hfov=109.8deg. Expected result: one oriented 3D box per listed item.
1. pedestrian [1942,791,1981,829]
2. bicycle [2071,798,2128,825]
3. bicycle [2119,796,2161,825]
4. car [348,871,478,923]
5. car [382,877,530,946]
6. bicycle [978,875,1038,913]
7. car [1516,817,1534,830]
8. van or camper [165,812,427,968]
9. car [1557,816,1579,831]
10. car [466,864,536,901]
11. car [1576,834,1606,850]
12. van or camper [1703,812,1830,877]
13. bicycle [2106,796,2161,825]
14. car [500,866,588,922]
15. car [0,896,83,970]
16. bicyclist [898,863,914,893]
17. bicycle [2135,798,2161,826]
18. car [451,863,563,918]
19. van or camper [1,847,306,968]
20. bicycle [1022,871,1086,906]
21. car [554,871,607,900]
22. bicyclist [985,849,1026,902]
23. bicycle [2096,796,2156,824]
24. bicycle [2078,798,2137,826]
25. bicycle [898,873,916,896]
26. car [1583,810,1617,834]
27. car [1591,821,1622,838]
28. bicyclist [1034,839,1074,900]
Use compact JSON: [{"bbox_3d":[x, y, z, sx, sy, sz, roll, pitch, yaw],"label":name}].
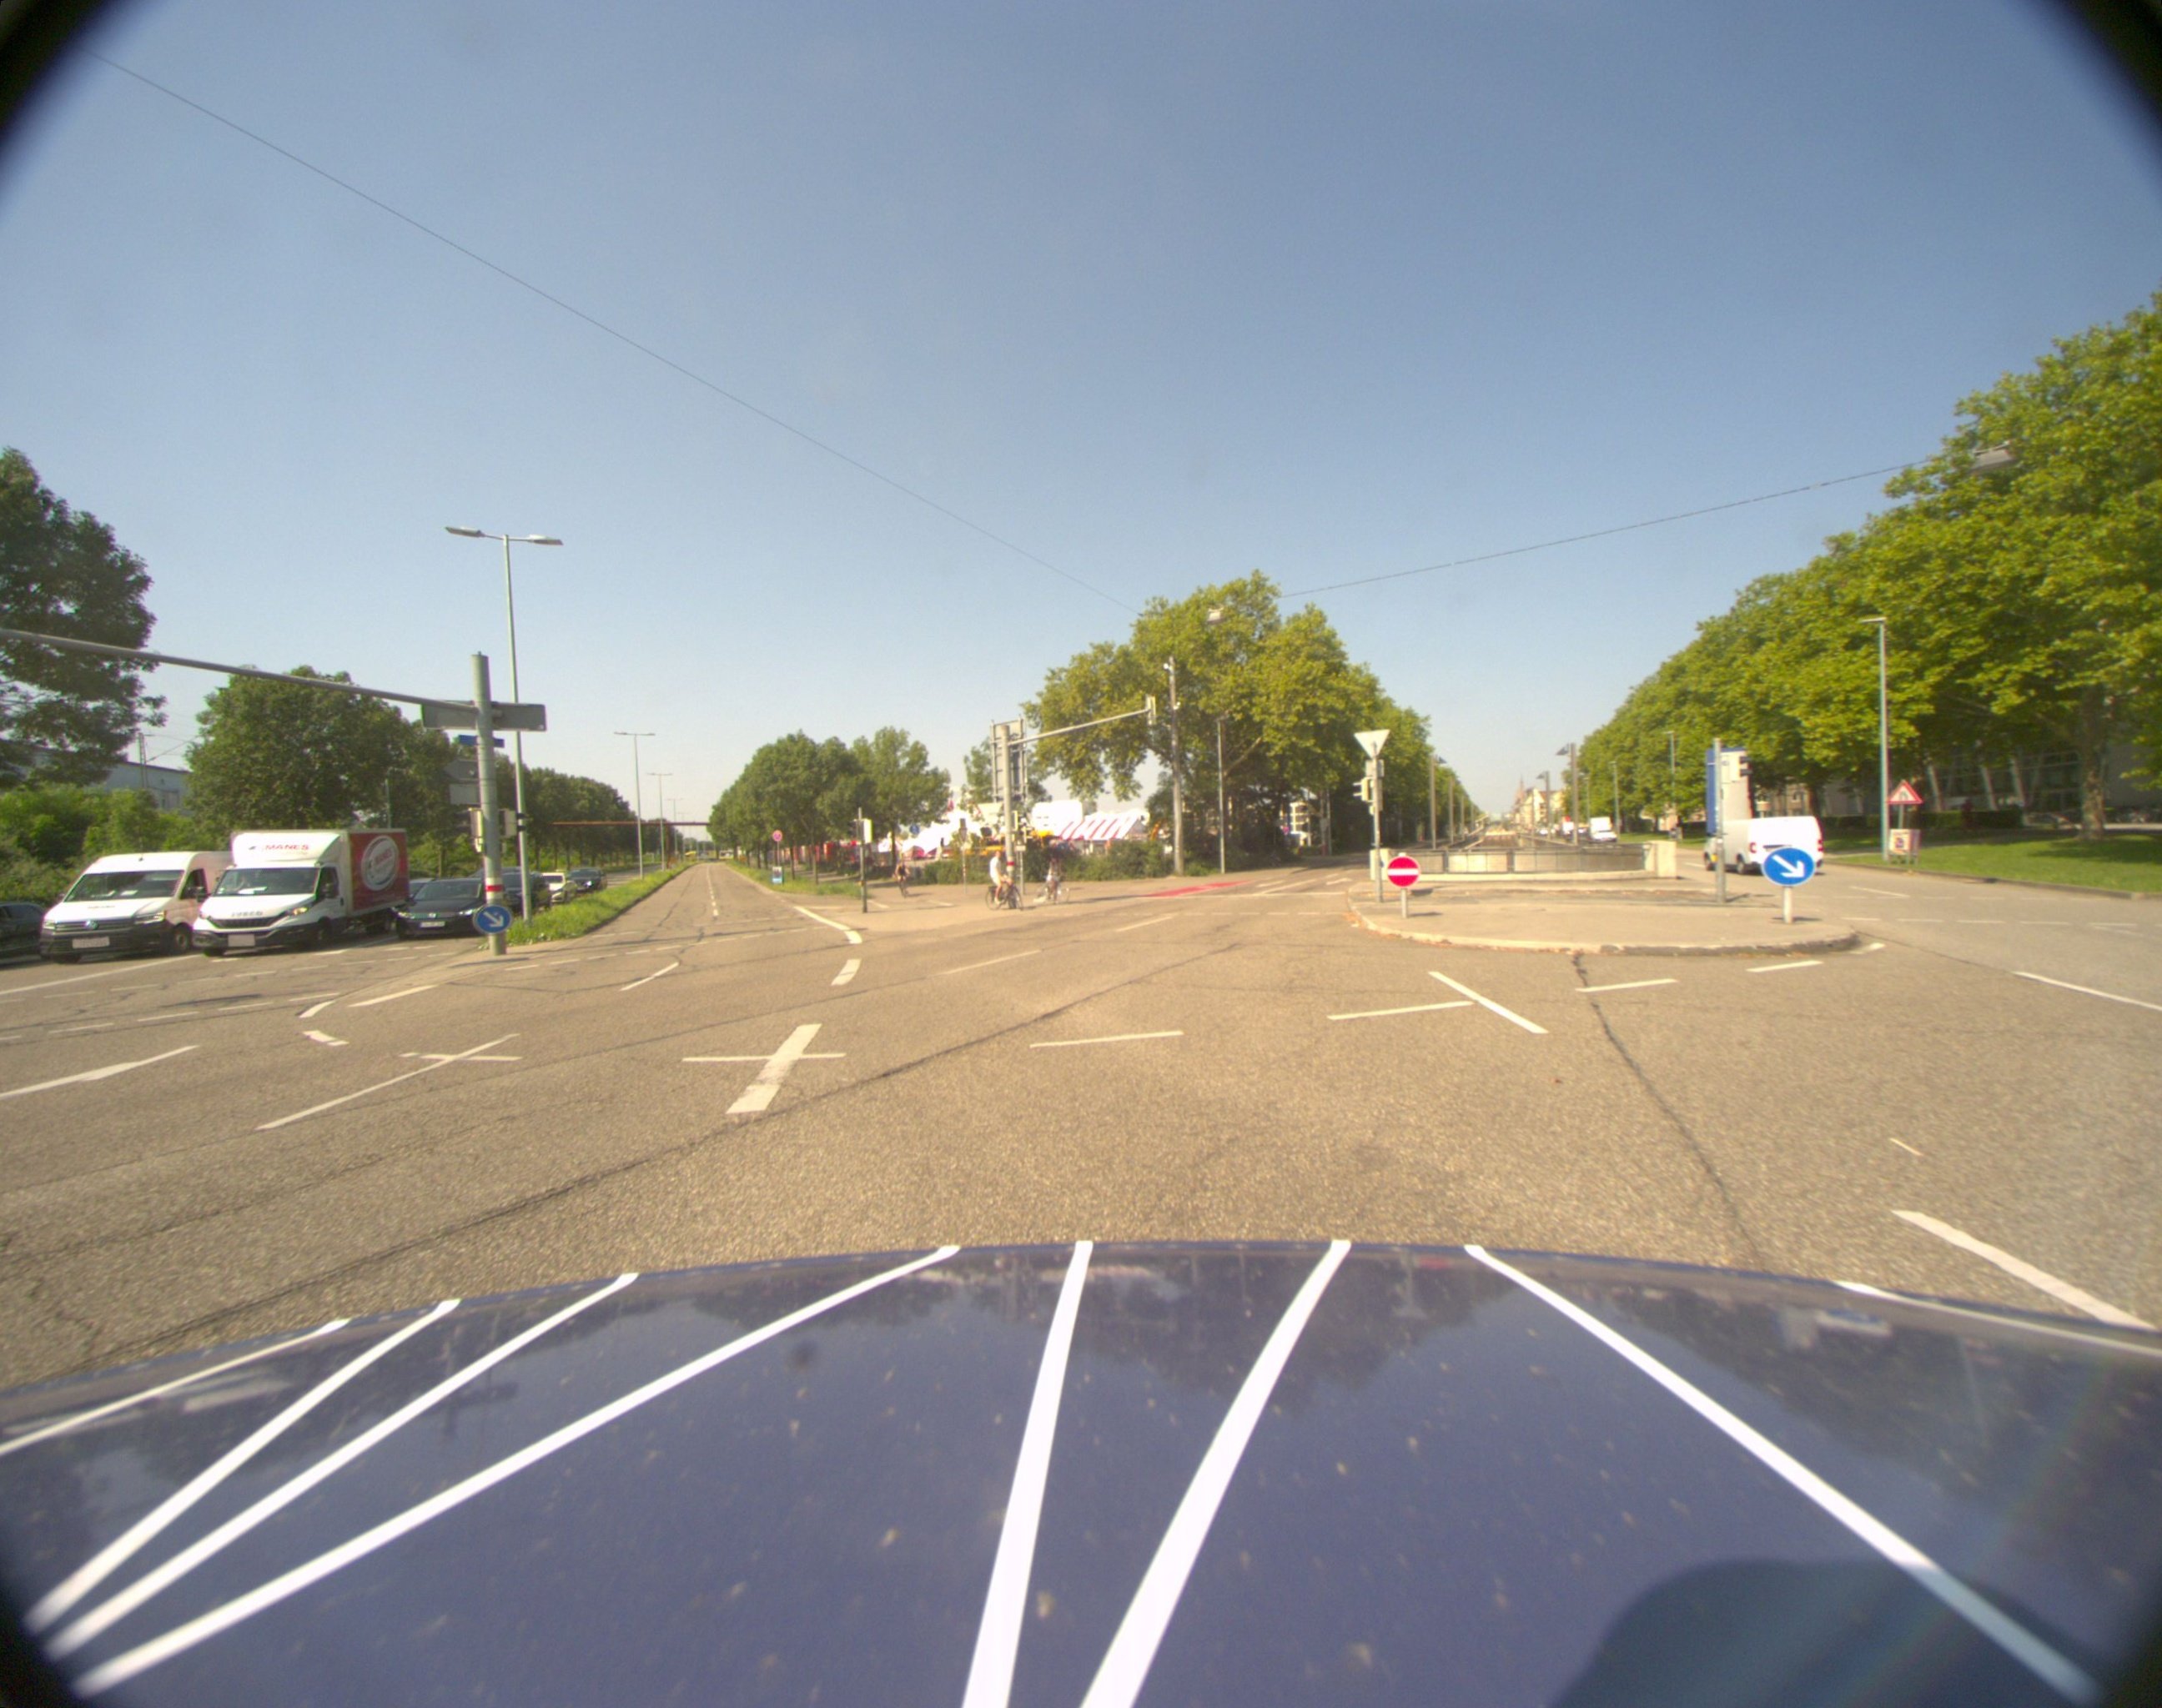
[{"bbox_3d":[49.284,-2.434,42.539,0.947,2.002,1.351,-4,0,30],"label":"pedestrian"},{"bbox_3d":[65.721,-2.711,49.043,2.165,1.545,0.601,-4,0,22],"label":"bicycle"},{"bbox_3d":[64.222,-2.636,45.638,2.165,1.545,0.601,-4,0,22],"label":"bicycle"},{"bbox_3d":[-24.752,1.556,28.428,2.169,1.600,4.966,-5,0,-24],"label":"car"},{"bbox_3d":[-18.061,1.574,22.276,1.908,1.604,5.187,-5,0,-24],"label":"car"},{"bbox_3d":[-2.335,1.232,23.948,0.774,1.081,2.214,-4,2,-38],"label":"bicycle"},{"bbox_3d":[75.219,-5.129,128.829,1.996,2.002,4.005,-4,0,23],"label":"car"},{"bbox_3d":[-20.383,0.885,20.331,2.252,3.342,6.839,-5,0,-24],"label":"van or camper"},{"bbox_3d":[72.597,-4.526,113.281,2.287,2.067,4.663,-4,0,27],"label":"car"},{"bbox_3d":[-28.739,1.403,37.764,1.658,1.654,3.749,-5,0,-21],"label":"car"},{"bbox_3d":[45.347,-1.078,67.581,1.658,1.213,3.900,-4,0,26],"label":"car"},{"bbox_3d":[23.271,-0.394,26.032,1.842,1.936,4.954,-2,2,25],"label":"van or camper"},{"bbox_3d":[64.760,-2.661,46.644,2.165,1.545,0.601,-4,0,22],"label":"bicycle"},{"bbox_3d":[-25.136,1.831,35.796,2.252,2.248,5.214,-5,0,-24],"label":"car"},{"bbox_3d":[-25.366,1.898,17.044,2.002,1.543,3.991,-5,2,-28],"label":"car"},{"bbox_3d":[-8.303,1.119,36.084,0.503,1.356,0.696,-5,0,-4],"label":"bicyclist"},{"bbox_3d":[63.825,-2.508,44.666,2.165,1.545,0.601,-4,0,22],"label":"bicycle"},{"bbox_3d":[-21.583,1.346,28.863,2.148,1.730,5.214,-5,0,-24],"label":"car"},{"bbox_3d":[-23.599,1.275,19.919,2.252,2.468,6.853,-5,0,-26],"label":"van or camper"},{"bbox_3d":[-0.925,1.160,25.679,0.774,1.081,2.257,-7,3,-43],"label":"bicycle"},{"bbox_3d":[-27.311,1.674,41.580,1.658,1.390,3.748,-4,1,-23],"label":"car"},{"bbox_3d":[-2.389,0.687,23.909,0.599,1.585,1.202,-5,1,-38],"label":"bicyclist"},{"bbox_3d":[65.027,-2.720,47.298,2.165,1.545,0.601,-4,0,22],"label":"bicycle"},{"bbox_3d":[65.425,-2.681,48.451,2.165,1.545,0.601,-4,0,22],"label":"bicycle"},{"bbox_3d":[-8.269,1.434,36.120,0.572,1.050,1.493,-3,0,-5],"label":"bicycle"},{"bbox_3d":[54.224,-3.302,79.492,2.287,2.220,4.663,-4,0,27],"label":"car"},{"bbox_3d":[51.828,-2.420,75.020,1.995,1.444,4.006,-4,0,27],"label":"car"},{"bbox_3d":[-0.924,0.524,25.670,0.599,2.002,1.202,-5,1,-42],"label":"bicyclist"}]
